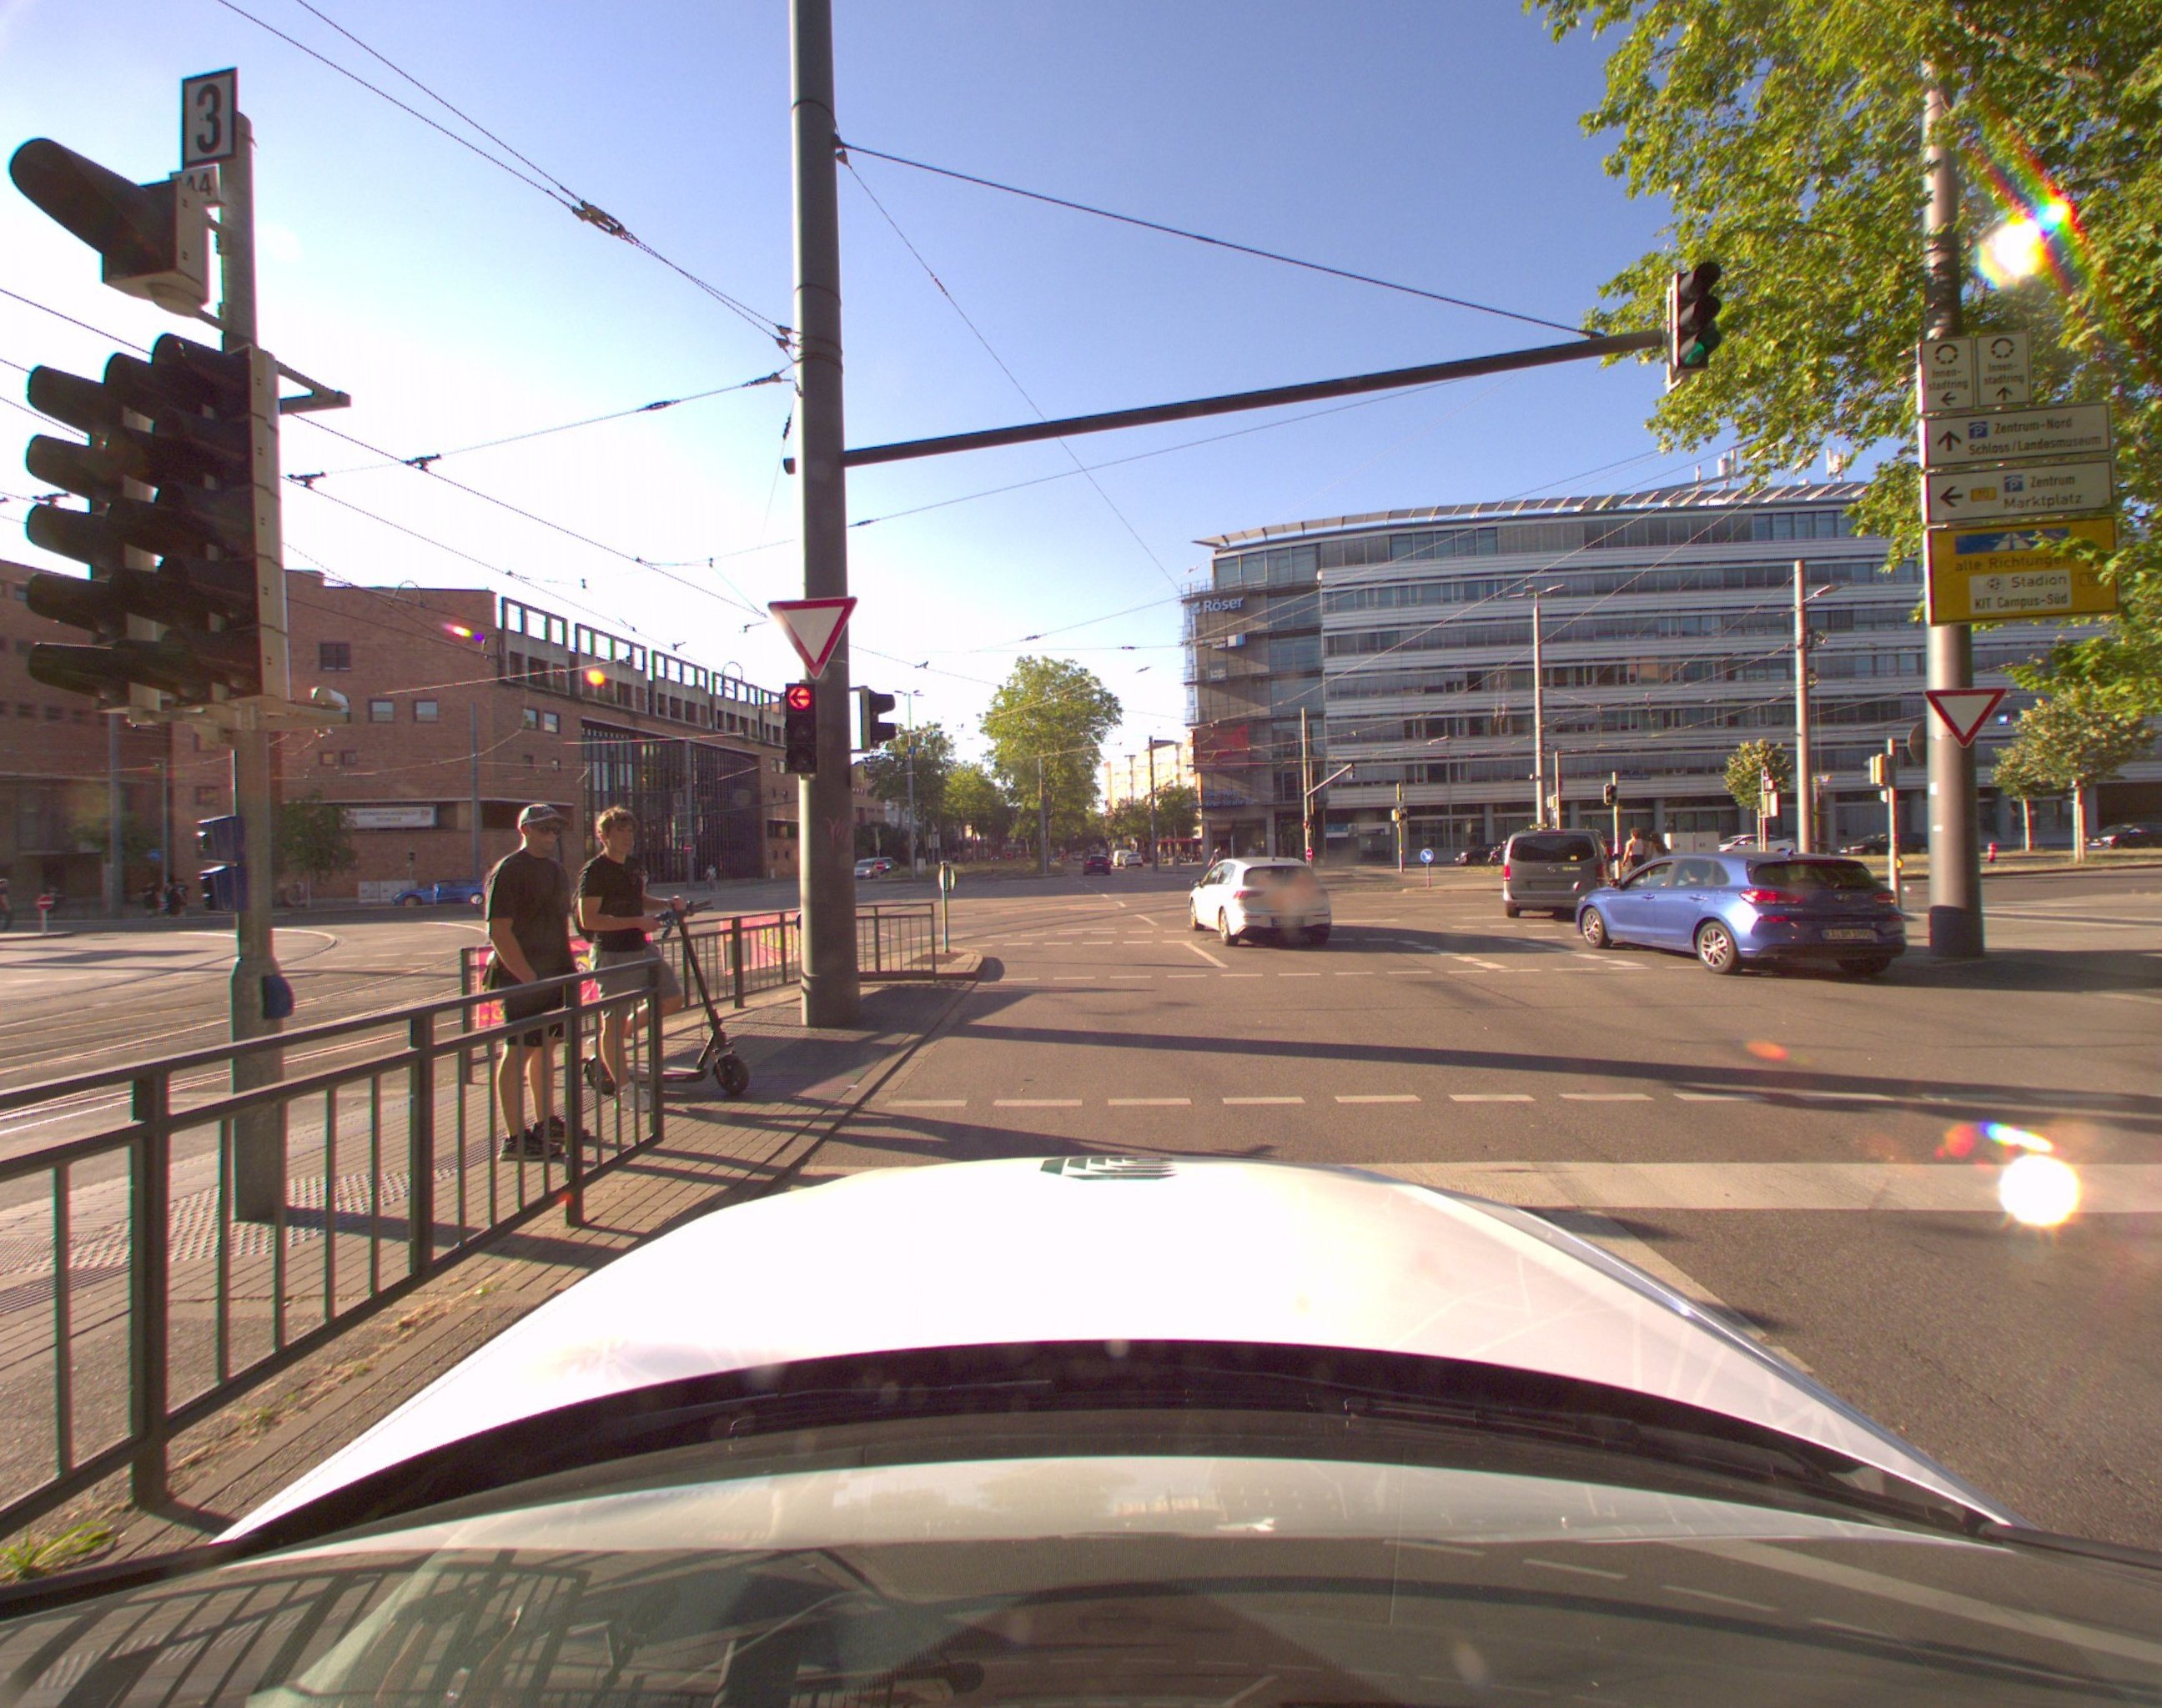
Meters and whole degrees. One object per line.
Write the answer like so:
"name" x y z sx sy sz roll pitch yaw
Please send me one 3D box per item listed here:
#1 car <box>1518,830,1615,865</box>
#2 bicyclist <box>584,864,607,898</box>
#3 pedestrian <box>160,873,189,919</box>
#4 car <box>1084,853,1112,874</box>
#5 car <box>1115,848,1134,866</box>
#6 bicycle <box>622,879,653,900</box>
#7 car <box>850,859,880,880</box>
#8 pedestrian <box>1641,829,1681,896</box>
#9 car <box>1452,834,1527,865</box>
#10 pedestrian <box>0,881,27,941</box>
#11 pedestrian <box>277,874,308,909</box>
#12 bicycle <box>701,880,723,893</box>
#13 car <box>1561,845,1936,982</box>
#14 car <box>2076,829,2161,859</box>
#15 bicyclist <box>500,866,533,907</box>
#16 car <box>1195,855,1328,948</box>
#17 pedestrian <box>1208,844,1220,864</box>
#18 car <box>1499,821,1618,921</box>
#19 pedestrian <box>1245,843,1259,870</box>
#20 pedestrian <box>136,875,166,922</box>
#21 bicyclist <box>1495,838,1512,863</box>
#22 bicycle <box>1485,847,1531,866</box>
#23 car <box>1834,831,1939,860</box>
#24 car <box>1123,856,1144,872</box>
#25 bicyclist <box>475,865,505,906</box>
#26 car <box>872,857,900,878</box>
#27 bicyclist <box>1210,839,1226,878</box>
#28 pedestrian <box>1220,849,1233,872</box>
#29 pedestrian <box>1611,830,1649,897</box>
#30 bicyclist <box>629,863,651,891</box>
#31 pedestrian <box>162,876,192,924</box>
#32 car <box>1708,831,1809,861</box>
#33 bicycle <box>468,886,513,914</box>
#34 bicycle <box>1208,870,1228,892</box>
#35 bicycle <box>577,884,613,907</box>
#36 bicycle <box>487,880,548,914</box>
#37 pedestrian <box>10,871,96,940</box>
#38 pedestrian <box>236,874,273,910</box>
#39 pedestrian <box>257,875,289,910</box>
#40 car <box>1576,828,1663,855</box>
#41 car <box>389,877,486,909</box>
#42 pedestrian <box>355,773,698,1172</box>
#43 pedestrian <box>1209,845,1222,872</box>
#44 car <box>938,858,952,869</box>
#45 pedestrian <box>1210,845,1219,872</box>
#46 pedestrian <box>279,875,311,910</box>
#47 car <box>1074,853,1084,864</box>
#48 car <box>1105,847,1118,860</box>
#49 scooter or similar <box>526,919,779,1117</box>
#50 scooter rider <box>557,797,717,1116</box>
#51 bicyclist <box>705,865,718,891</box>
"car" 27.028 -0.345 45.485 4.234 1.723 1.886 -2 0 4
"bicyclist" -23.526 1.306 39.466 0.660 1.569 0.757 -2 0 -6
"pedestrian" -40.625 1.889 36.519 0.615 2.013 0.726 -2 0 -28
"car" 1.179 0.671 58.002 1.759 1.404 4.293 -1 0 -2
"car" 4.745 0.343 89.703 1.986 2.014 4.001 0 -1 2
"bicycle" -23.694 1.872 43.520 0.650 1.050 2.010 -1 0 -3
"car" -18.000 1.256 67.904 1.618 1.577 3.994 -2 0 -4
"pedestrian" 15.572 0.229 21.874 0.677 1.759 0.746 -2 0 22
"car" 27.177 -0.306 54.290 3.972 2.014 2.001 0 -1 2
"pedestrian" -35.140 1.839 26.424 0.721 1.902 0.875 0 -1 -1
"pedestrian" -49.092 2.329 50.702 1.003 2.052 0.850 -2 0 -1
"bicycle" -23.565 2.071 52.019 0.588 0.771 1.966 -2 0 -2
"car" 8.467 0.641 10.932 1.740 1.459 4.216 -1 0 3
"car" 58.858 -0.564 45.458 4.097 1.596 1.884 0 -1 5
"bicyclist" -22.271 1.275 32.145 0.678 1.560 0.760 -2 2 6
"car" 3.089 0.748 14.698 1.740 1.418 4.004 -1 0 4
"pedestrian" 14.425 -0.023 88.245 1.305 2.190 1.173 0 -1 8
"car" 10.525 0.312 18.084 1.982 1.896 4.913 -1 0 30
"pedestrian" 12.830 0.193 61.087 0.866 2.014 0.794 0 -1 1
"pedestrian" -41.286 1.952 36.163 0.615 2.013 0.726 -2 0 -28
"bicyclist" 25.428 -0.205 49.026 0.660 1.503 0.614 -2 0 7
"bicycle" 25.669 0.132 48.985 2.397 1.022 0.638 -2 0 6
"car" 46.722 -0.489 47.290 4.097 1.596 1.884 0 -1 5
"car" 5.300 0.973 82.852 2.022 1.596 4.001 0 -1 2
"bicyclist" -23.202 1.232 31.974 0.661 1.574 0.756 -2 0 -11
"car" -18.041 1.213 75.494 1.819 1.790 3.994 -2 0 -4
"bicyclist" 5.147 0.178 30.557 0.485 1.439 0.616 -1 0 1
"pedestrian" 11.011 0.487 61.699 0.866 1.707 0.794 0 -1 1
"pedestrian" 14.916 0.258 22.136 0.671 1.759 0.746 -2 0 22
"bicyclist" -23.722 1.231 43.828 0.652 1.474 1.031 -1 -1 -3
"pedestrian" -38.952 1.976 35.085 0.615 2.013 0.726 -2 0 -29
"car" 37.611 -0.427 45.272 3.968 1.596 1.884 0 -1 5
"bicycle" -23.223 1.799 32.072 0.653 0.998 1.895 -2 0 -10
"bicycle" 5.162 1.004 30.760 0.489 0.788 1.862 -1 0 2
"bicycle" -23.498 1.981 39.433 0.692 0.998 1.898 -2 0 -5
"bicycle" -22.245 1.674 32.203 0.681 1.142 2.115 -2 2 6
"pedestrian" -30.914 1.528 24.523 1.029 2.014 1.208 0 -1 1
"pedestrian" -48.497 2.232 47.804 1.155 2.013 0.910 -2 0 -2
"pedestrian" -48.702 2.307 49.091 1.003 2.052 0.850 -2 0 -1
"car" 32.081 -0.709 48.581 3.966 1.552 1.800 0 -1 6
"car" -32.448 1.942 41.162 3.733 1.376 1.568 -2 0 -38
"pedestrian" -2.874 0.580 4.333 1.161 1.884 0.856 -2 0 6
"pedestrian" 10.160 0.348 61.632 0.846 2.014 0.708 0 -1 1
"car" -19.878 1.329 118.883 1.673 1.607 3.994 0 -1 -4
"pedestrian" 10.071 0.333 61.411 0.584 2.014 0.620 0 -1 2
"pedestrian" -47.456 2.297 49.167 1.003 2.052 0.850 -2 0 -1
"car" -0.427 0.978 178.325 1.985 2.014 4.001 0 -5 3
"car" 4.771 -0.047 126.991 1.986 2.014 4.001 0 -1 2
"scooter or similar" -2.627 0.988 5.075 1.196 1.081 0.649 -2 0 5
"scooter rider" -2.759 0.607 5.106 0.563 1.853 0.681 -2 -2 6
"bicyclist" -23.584 1.528 51.952 0.585 1.625 0.514 -2 0 -3
